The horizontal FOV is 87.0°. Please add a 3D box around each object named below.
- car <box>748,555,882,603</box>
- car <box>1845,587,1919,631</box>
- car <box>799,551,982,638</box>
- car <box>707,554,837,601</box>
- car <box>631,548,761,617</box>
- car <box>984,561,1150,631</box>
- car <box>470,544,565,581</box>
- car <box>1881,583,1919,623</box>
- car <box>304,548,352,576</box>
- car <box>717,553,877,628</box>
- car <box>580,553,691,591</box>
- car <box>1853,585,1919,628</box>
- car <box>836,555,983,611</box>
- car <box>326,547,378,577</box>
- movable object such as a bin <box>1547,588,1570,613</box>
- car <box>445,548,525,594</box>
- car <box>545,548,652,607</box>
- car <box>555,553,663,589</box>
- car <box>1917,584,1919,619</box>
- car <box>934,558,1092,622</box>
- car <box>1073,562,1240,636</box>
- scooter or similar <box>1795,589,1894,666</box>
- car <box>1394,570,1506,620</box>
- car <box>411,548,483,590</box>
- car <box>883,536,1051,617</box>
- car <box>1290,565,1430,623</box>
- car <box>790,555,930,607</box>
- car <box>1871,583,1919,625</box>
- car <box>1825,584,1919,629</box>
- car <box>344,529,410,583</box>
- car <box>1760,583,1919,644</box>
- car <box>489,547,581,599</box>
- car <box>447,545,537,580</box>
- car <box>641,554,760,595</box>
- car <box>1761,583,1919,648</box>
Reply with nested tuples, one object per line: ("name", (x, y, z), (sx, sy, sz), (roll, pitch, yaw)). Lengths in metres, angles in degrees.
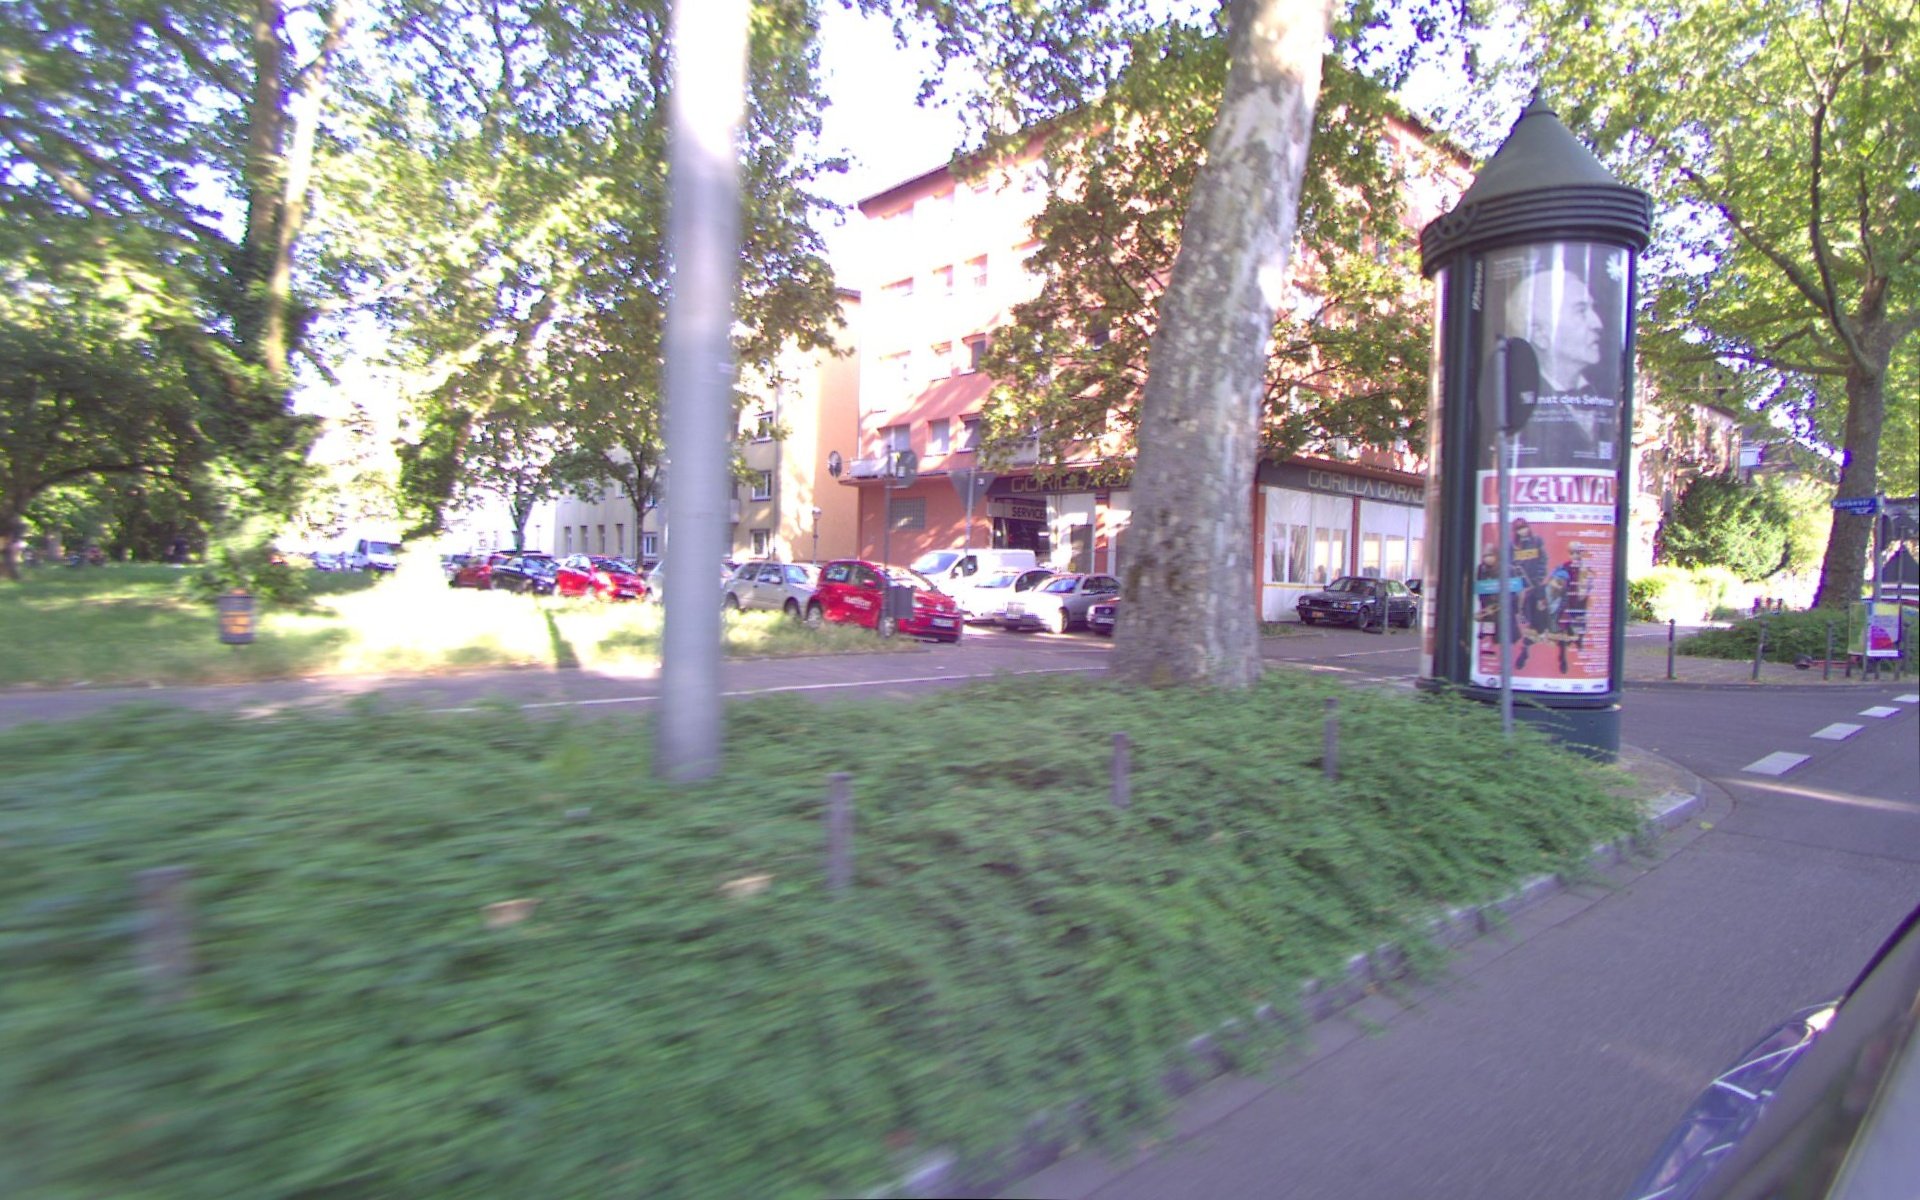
("car", (-5.082, -0.738, 35.954), (4.503, 1.594, 1.791), (0, 3, -45))
("car", (34.505, 0.355, 36.094), (1.785, 1.465, 4.209), (0, 2, -40))
("car", (-1.404, -0.160, 19.444), (1.655, 1.470, 3.544), (0, 3, -42))
("car", (-6.908, -0.821, 37.473), (4.503, 1.594, 1.791), (0, 3, -45))
("car", (-6.902, -0.495, 26.232), (1.655, 1.601, 3.924), (0, 3, -42))
("car", (2.802, -0.130, 25.734), (1.790, 1.594, 4.505), (4, 3, 44))
("car", (-24.574, -2.055, 56.259), (4.503, 1.930, 1.791), (0, 3, -45))
("car", (41.723, 0.197, 42.518), (1.784, 1.638, 4.212), (0, 2, -38))
("car", (-37.208, -2.225, 59.524), (1.769, 1.529, 3.994), (0, 3, -42))
("car", (-3.718, -0.254, 22.634), (1.655, 1.470, 3.924), (0, 3, -42))
("car", (-14.800, -1.252, 46.272), (4.503, 1.594, 1.791), (0, 3, -45))
("car", (37.838, 0.280, 39.485), (1.784, 1.593, 4.212), (0, 2, -38))
("car", (-1.508, -0.526, 31.459), (4.503, 1.594, 1.791), (0, 3, -45))
("car", (-33.613, -2.119, 55.888), (1.769, 1.529, 3.994), (0, 3, -42))
("movable object such as a bin", (23.727, 0.007, 40.132), (0.438, 0.951, 0.659), (-1, 3, -35))
("car", (-17.838, -1.116, 37.910), (1.655, 1.601, 3.924), (0, 3, -42))
("car", (-10.946, -0.709, 30.509), (1.655, 1.601, 3.924), (0, 3, -42))
("car", (-16.673, -1.349, 48.186), (4.503, 1.594, 1.791), (0, 3, -45))
("car", (46.808, 0.176, 46.591), (1.760, 1.638, 3.789), (0, 4, -42))
("car", (1.537, -0.293, 28.013), (4.503, 1.594, 1.791), (0, 3, -45))
("car", (4.842, -0.055, 24.570), (1.790, 1.594, 4.505), (4, 3, 44))
("scooter or similar", (15.563, 0.459, 17.822), (0.560, 1.255, 1.210), (-1, 3, -42))
("car", (15.659, -0.180, 32.294), (3.880, 1.452, 1.753), (0, 3, -40))
("car", (-20.852, -1.276, 41.075), (1.655, 1.601, 3.924), (0, 3, -42))
("car", (0.291, -0.692, 29.955), (5.000, 2.211, 1.914), (0, 3, -44))
("car", (11.241, -0.176, 28.333), (4.389, 1.452, 1.753), (0, 3, -40))
("car", (-3.267, -0.629, 33.624), (4.503, 1.594, 1.791), (0, 3, -45))
("car", (39.695, 0.213, 40.806), (1.847, 1.638, 4.206), (0, 2, -42))
("car", (35.807, 0.251, 38.407), (1.784, 1.575, 4.212), (0, 2, -38))
("car", (-29.740, -2.282, 51.550), (1.942, 2.594, 5.038), (0, 3, -42))
("car", (26.479, 0.364, 29.639), (1.916, 1.561, 4.416), (0, 2, -38))
("car", (-14.314, -0.921, 33.973), (1.655, 1.601, 3.924), (0, 3, -42))
("car", (-27.644, -2.224, 59.919), (4.503, 1.930, 1.791), (0, 3, -45))
("car", (-10.674, -1.032, 41.842), (4.503, 1.594, 1.791), (0, 3, -45))
("car", (24.882, 0.402, 27.562), (1.782, 1.561, 4.421), (0, 2, -33))
